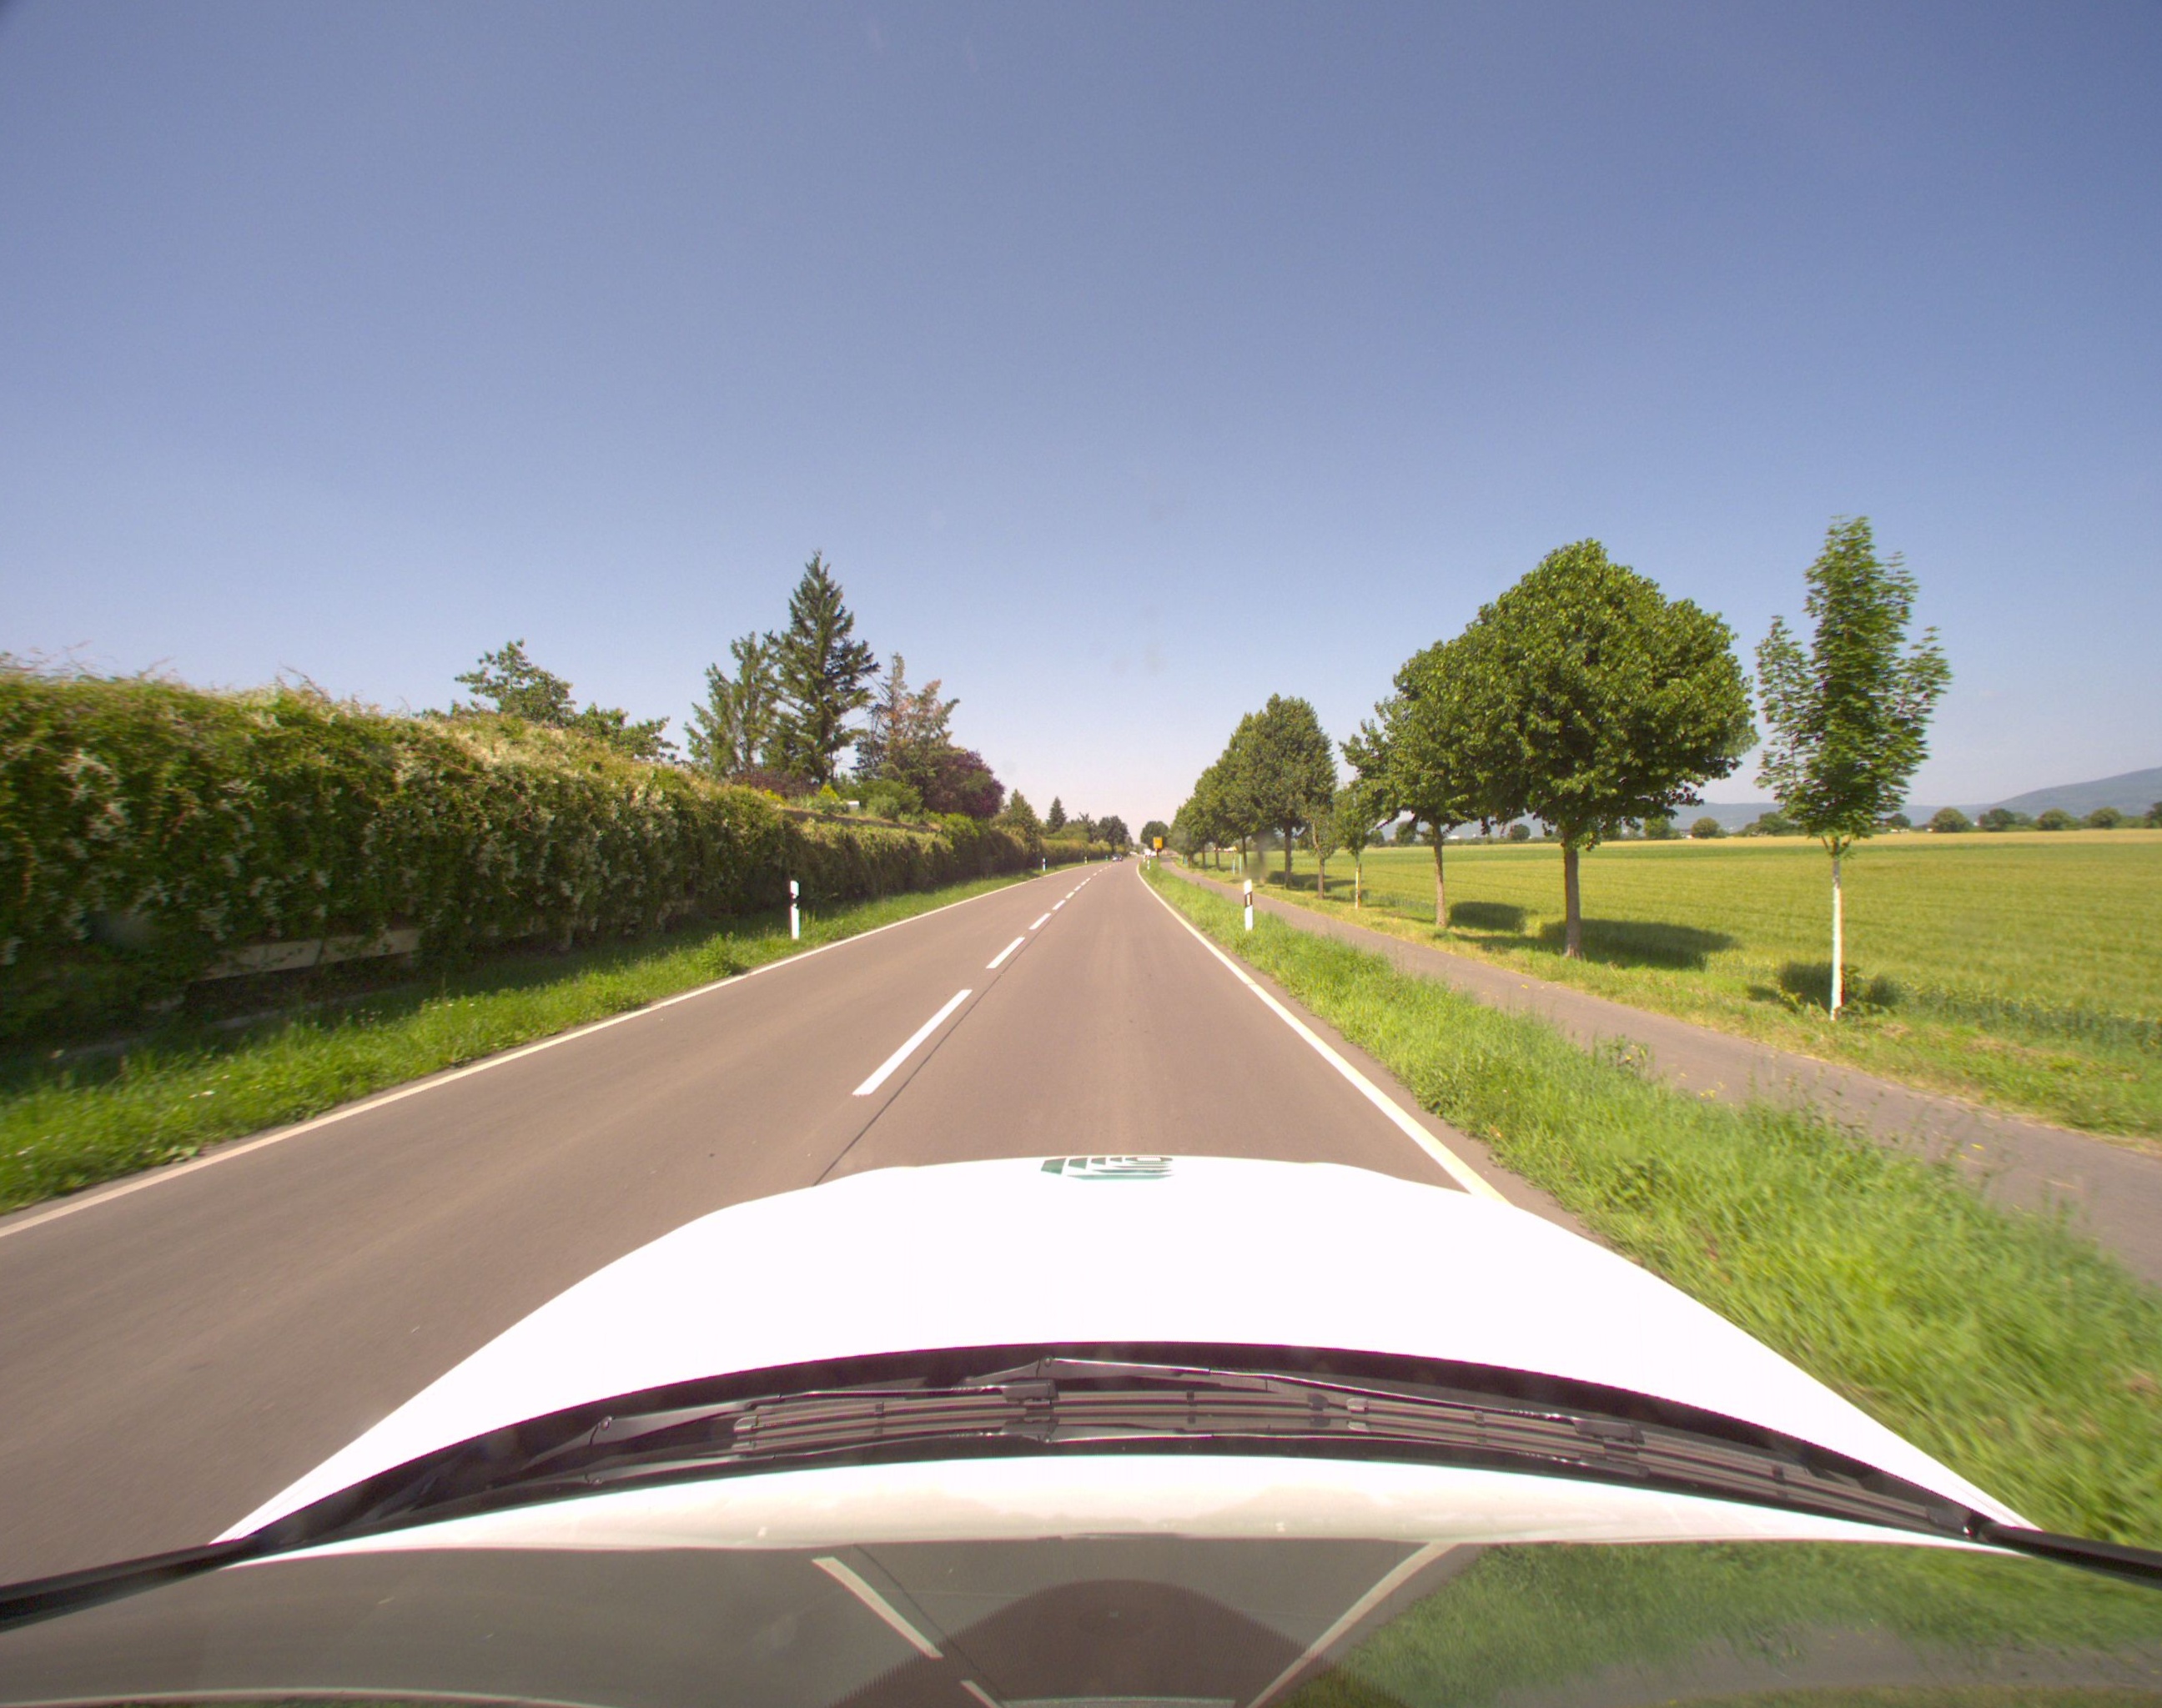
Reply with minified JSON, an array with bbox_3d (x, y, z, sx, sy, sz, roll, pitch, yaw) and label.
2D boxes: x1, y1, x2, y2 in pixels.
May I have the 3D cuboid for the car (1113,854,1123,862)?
[{"bbox_3d":[7.058,0.688,157.142,1.833,1.467,3.935,-1,0,2],"label":"car"}]
